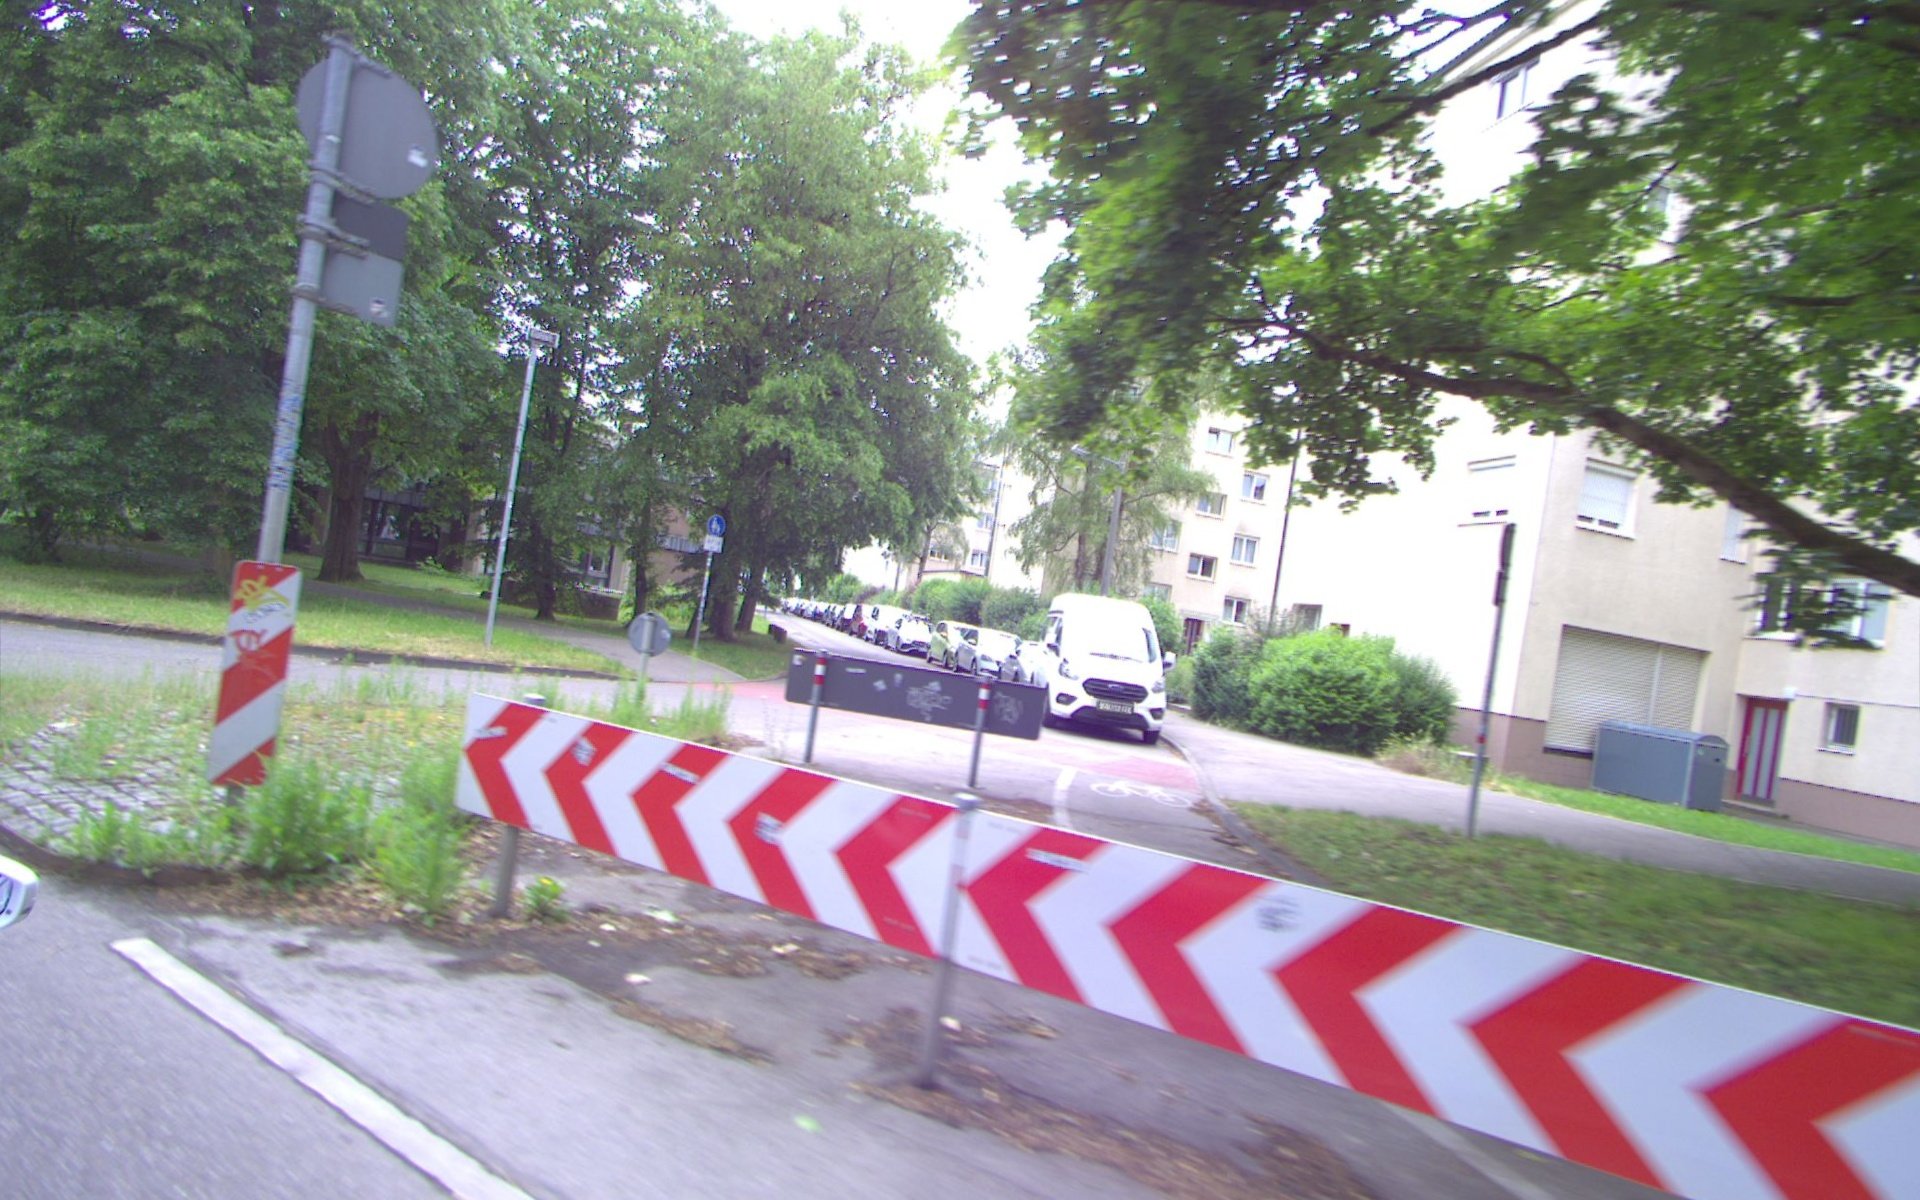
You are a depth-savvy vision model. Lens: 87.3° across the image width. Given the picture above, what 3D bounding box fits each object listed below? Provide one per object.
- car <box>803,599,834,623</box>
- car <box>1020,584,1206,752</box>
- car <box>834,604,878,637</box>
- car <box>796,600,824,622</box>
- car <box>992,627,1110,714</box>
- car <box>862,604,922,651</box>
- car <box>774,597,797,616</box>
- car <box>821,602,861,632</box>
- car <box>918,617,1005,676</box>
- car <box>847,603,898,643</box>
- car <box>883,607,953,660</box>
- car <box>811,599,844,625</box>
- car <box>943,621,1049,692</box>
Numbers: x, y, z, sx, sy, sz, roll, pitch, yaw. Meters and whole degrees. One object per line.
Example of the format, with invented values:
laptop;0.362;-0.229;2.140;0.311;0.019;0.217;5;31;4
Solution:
car;-10.945;0.851;77.787;1.772;1.528;3.989;8;-1;-14
car;2.554;1.129;18.363;2.251;2.326;5.328;8;-1;0
car;-5.979;1.152;57.535;1.772;1.528;3.989;8;-1;-14
car;-12.444;0.893;83.352;1.772;1.528;3.989;8;-1;-14
car;2.008;1.560;23.417;1.769;1.528;3.996;8;-1;-7
car;-3.111;1.190;45.166;1.772;1.694;3.989;8;-1;-14
car;-17.312;0.605;99.869;1.772;1.528;3.989;8;-1;-14
car;-7.515;1.048;63.238;1.772;1.528;3.989;8;-1;-14
car;-0.035;1.507;33.725;1.773;1.528;3.988;8;-1;-15
car;-4.483;1.140;51.301;1.772;1.694;3.989;8;-1;-14
car;-1.709;1.271;39.370;1.772;1.694;3.989;8;-1;-14
car;-9.620;0.828;72.717;1.772;1.528;3.989;8;-1;-14
car;0.922;1.542;28.770;1.771;1.528;4.593;8;-1;-12
